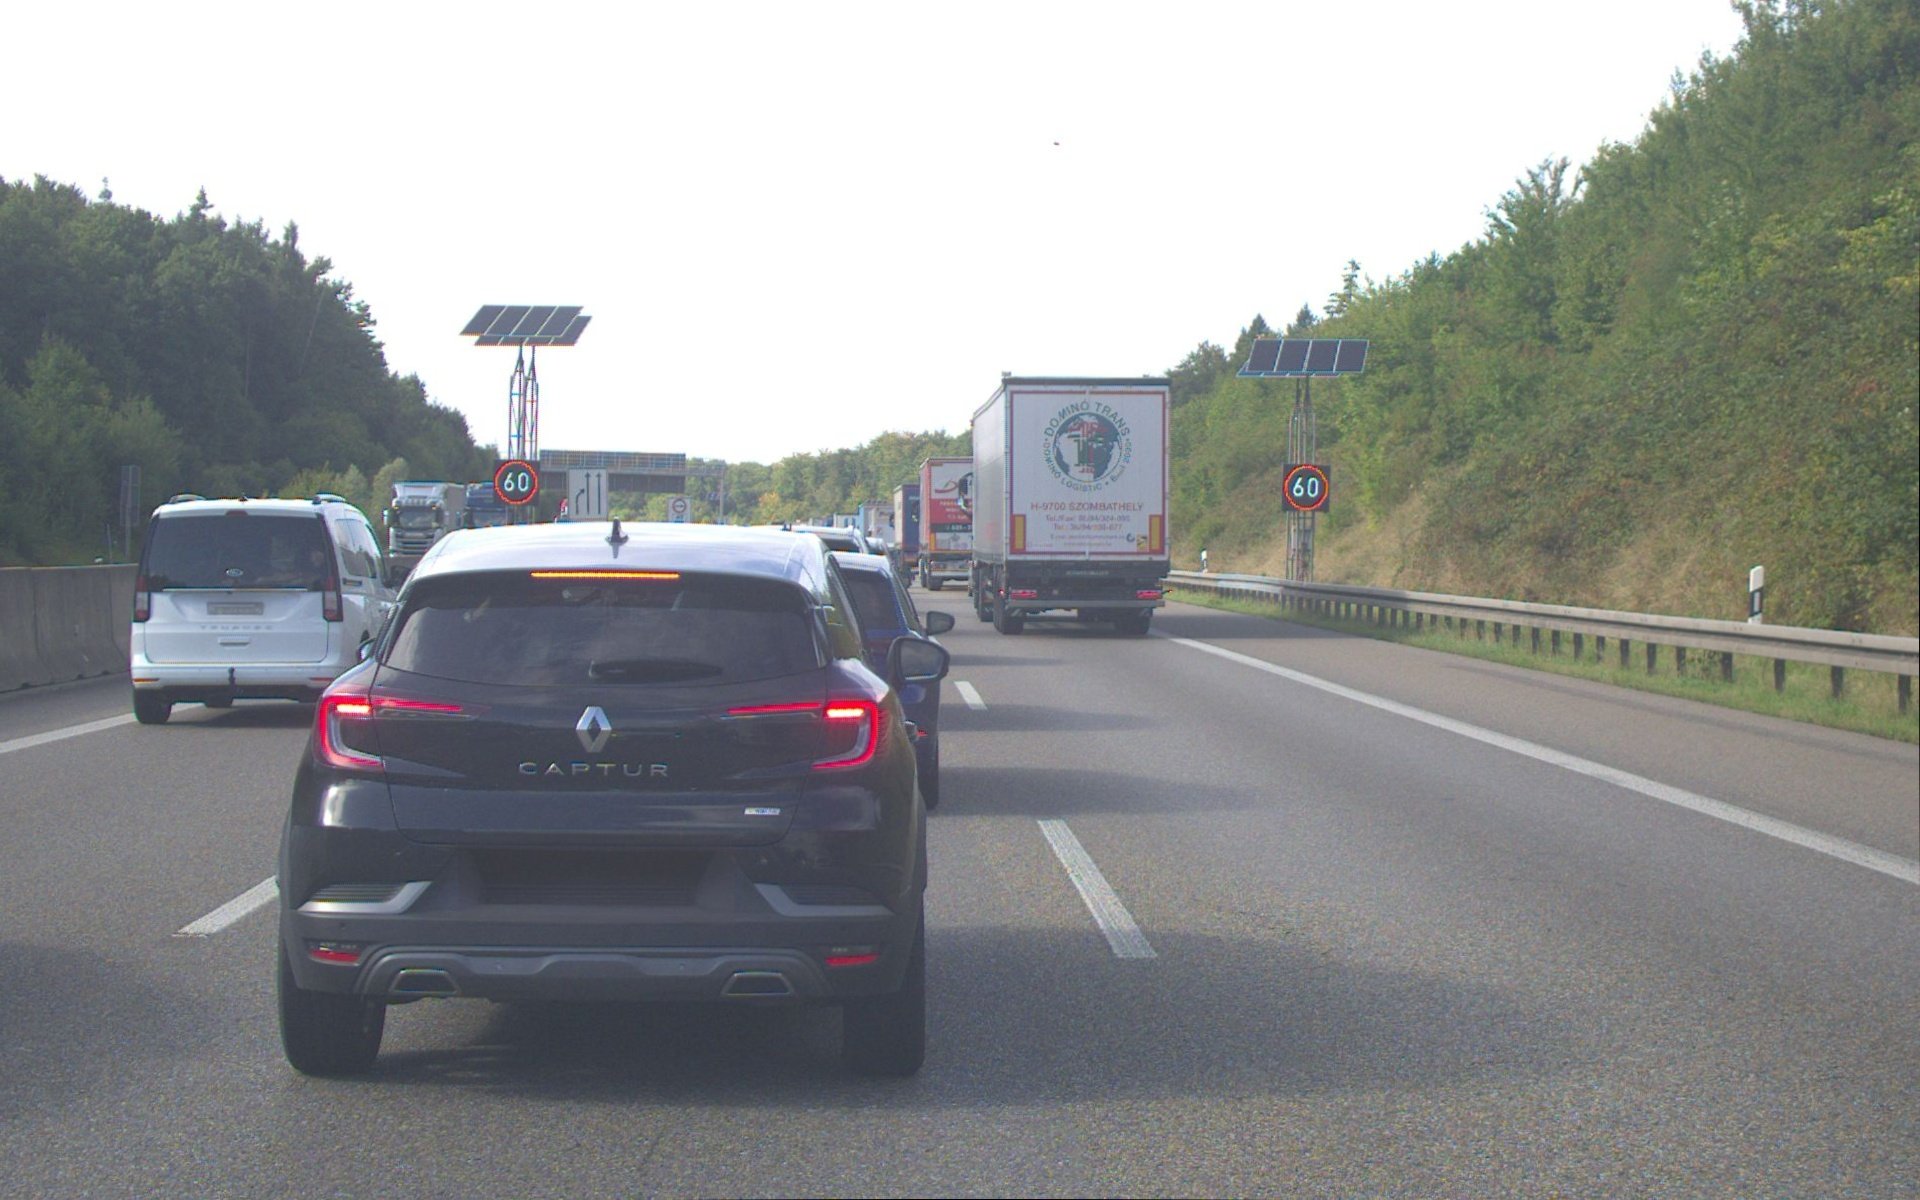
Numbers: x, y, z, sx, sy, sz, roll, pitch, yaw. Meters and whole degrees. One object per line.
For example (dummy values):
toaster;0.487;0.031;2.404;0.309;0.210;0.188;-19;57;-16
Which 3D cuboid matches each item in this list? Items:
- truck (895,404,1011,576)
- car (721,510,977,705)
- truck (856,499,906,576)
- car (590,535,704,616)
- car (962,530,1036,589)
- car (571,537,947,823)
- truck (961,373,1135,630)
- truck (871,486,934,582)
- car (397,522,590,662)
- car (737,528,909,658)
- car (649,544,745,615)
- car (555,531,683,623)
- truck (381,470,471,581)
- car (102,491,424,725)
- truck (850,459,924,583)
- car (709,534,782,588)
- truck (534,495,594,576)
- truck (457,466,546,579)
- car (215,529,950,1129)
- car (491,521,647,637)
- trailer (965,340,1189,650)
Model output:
truck;-0.238;-3.309;107.861;3.365;5.027;12.738;1;1;0
car;-0.895;0.039;29.036;1.993;1.509;4.000;1;1;-1
truck;-5.437;-4.271;237.553;3.166;5.142;12.738;1;1;0
car;-6.426;-0.505;70.932;1.993;1.607;4.000;1;1;-1
car;1.025;-1.092;92.274;1.804;1.527;3.926;1;1;-2
car;-1.094;0.410;20.382;1.993;1.509;4.000;1;1;-1
truck;1.602;-1.847;65.560;2.997;4.651;5.940;0;1;-1
truck;-3.338;-3.840;203.196;3.167;5.486;12.737;1;1;1
car;-5.729;-0.111;42.618;1.855;1.635;3.926;1;1;0
car;-1.653;-0.102;42.623;1.993;1.509;4.000;1;1;-1
car;-6.181;-0.513;81.099;1.993;1.607;4.000;0;1;-1
car;-6.251;-0.429;63.398;1.993;1.607;4.000;1;1;-1
truck;-25.210;-3.525;162.718;2.890;5.075;10.081;1;1;-1
car;-5.712;0.043;28.691;1.911;1.783;4.418;1;1;-2
truck;-3.319;-3.594;159.641;3.166;5.486;12.738;1;1;0
car;-6.497;-1.193;104.453;1.993;1.607;4.000;0;1;-1
truck;-25.486;-4.137;221.717;2.890;5.075;10.081;1;1;-1
truck;-20.725;-3.486;155.942;2.890;4.917;10.081;1;1;-1
car;-0.987;0.561;10.897;1.804;1.547;4.000;0;1;1
car;-6.068;-0.333;53.756;1.993;1.716;4.000;1;1;-1
trailer;1.780;-1.709;58.454;3.002;4.645;13.291;0;1;-1
